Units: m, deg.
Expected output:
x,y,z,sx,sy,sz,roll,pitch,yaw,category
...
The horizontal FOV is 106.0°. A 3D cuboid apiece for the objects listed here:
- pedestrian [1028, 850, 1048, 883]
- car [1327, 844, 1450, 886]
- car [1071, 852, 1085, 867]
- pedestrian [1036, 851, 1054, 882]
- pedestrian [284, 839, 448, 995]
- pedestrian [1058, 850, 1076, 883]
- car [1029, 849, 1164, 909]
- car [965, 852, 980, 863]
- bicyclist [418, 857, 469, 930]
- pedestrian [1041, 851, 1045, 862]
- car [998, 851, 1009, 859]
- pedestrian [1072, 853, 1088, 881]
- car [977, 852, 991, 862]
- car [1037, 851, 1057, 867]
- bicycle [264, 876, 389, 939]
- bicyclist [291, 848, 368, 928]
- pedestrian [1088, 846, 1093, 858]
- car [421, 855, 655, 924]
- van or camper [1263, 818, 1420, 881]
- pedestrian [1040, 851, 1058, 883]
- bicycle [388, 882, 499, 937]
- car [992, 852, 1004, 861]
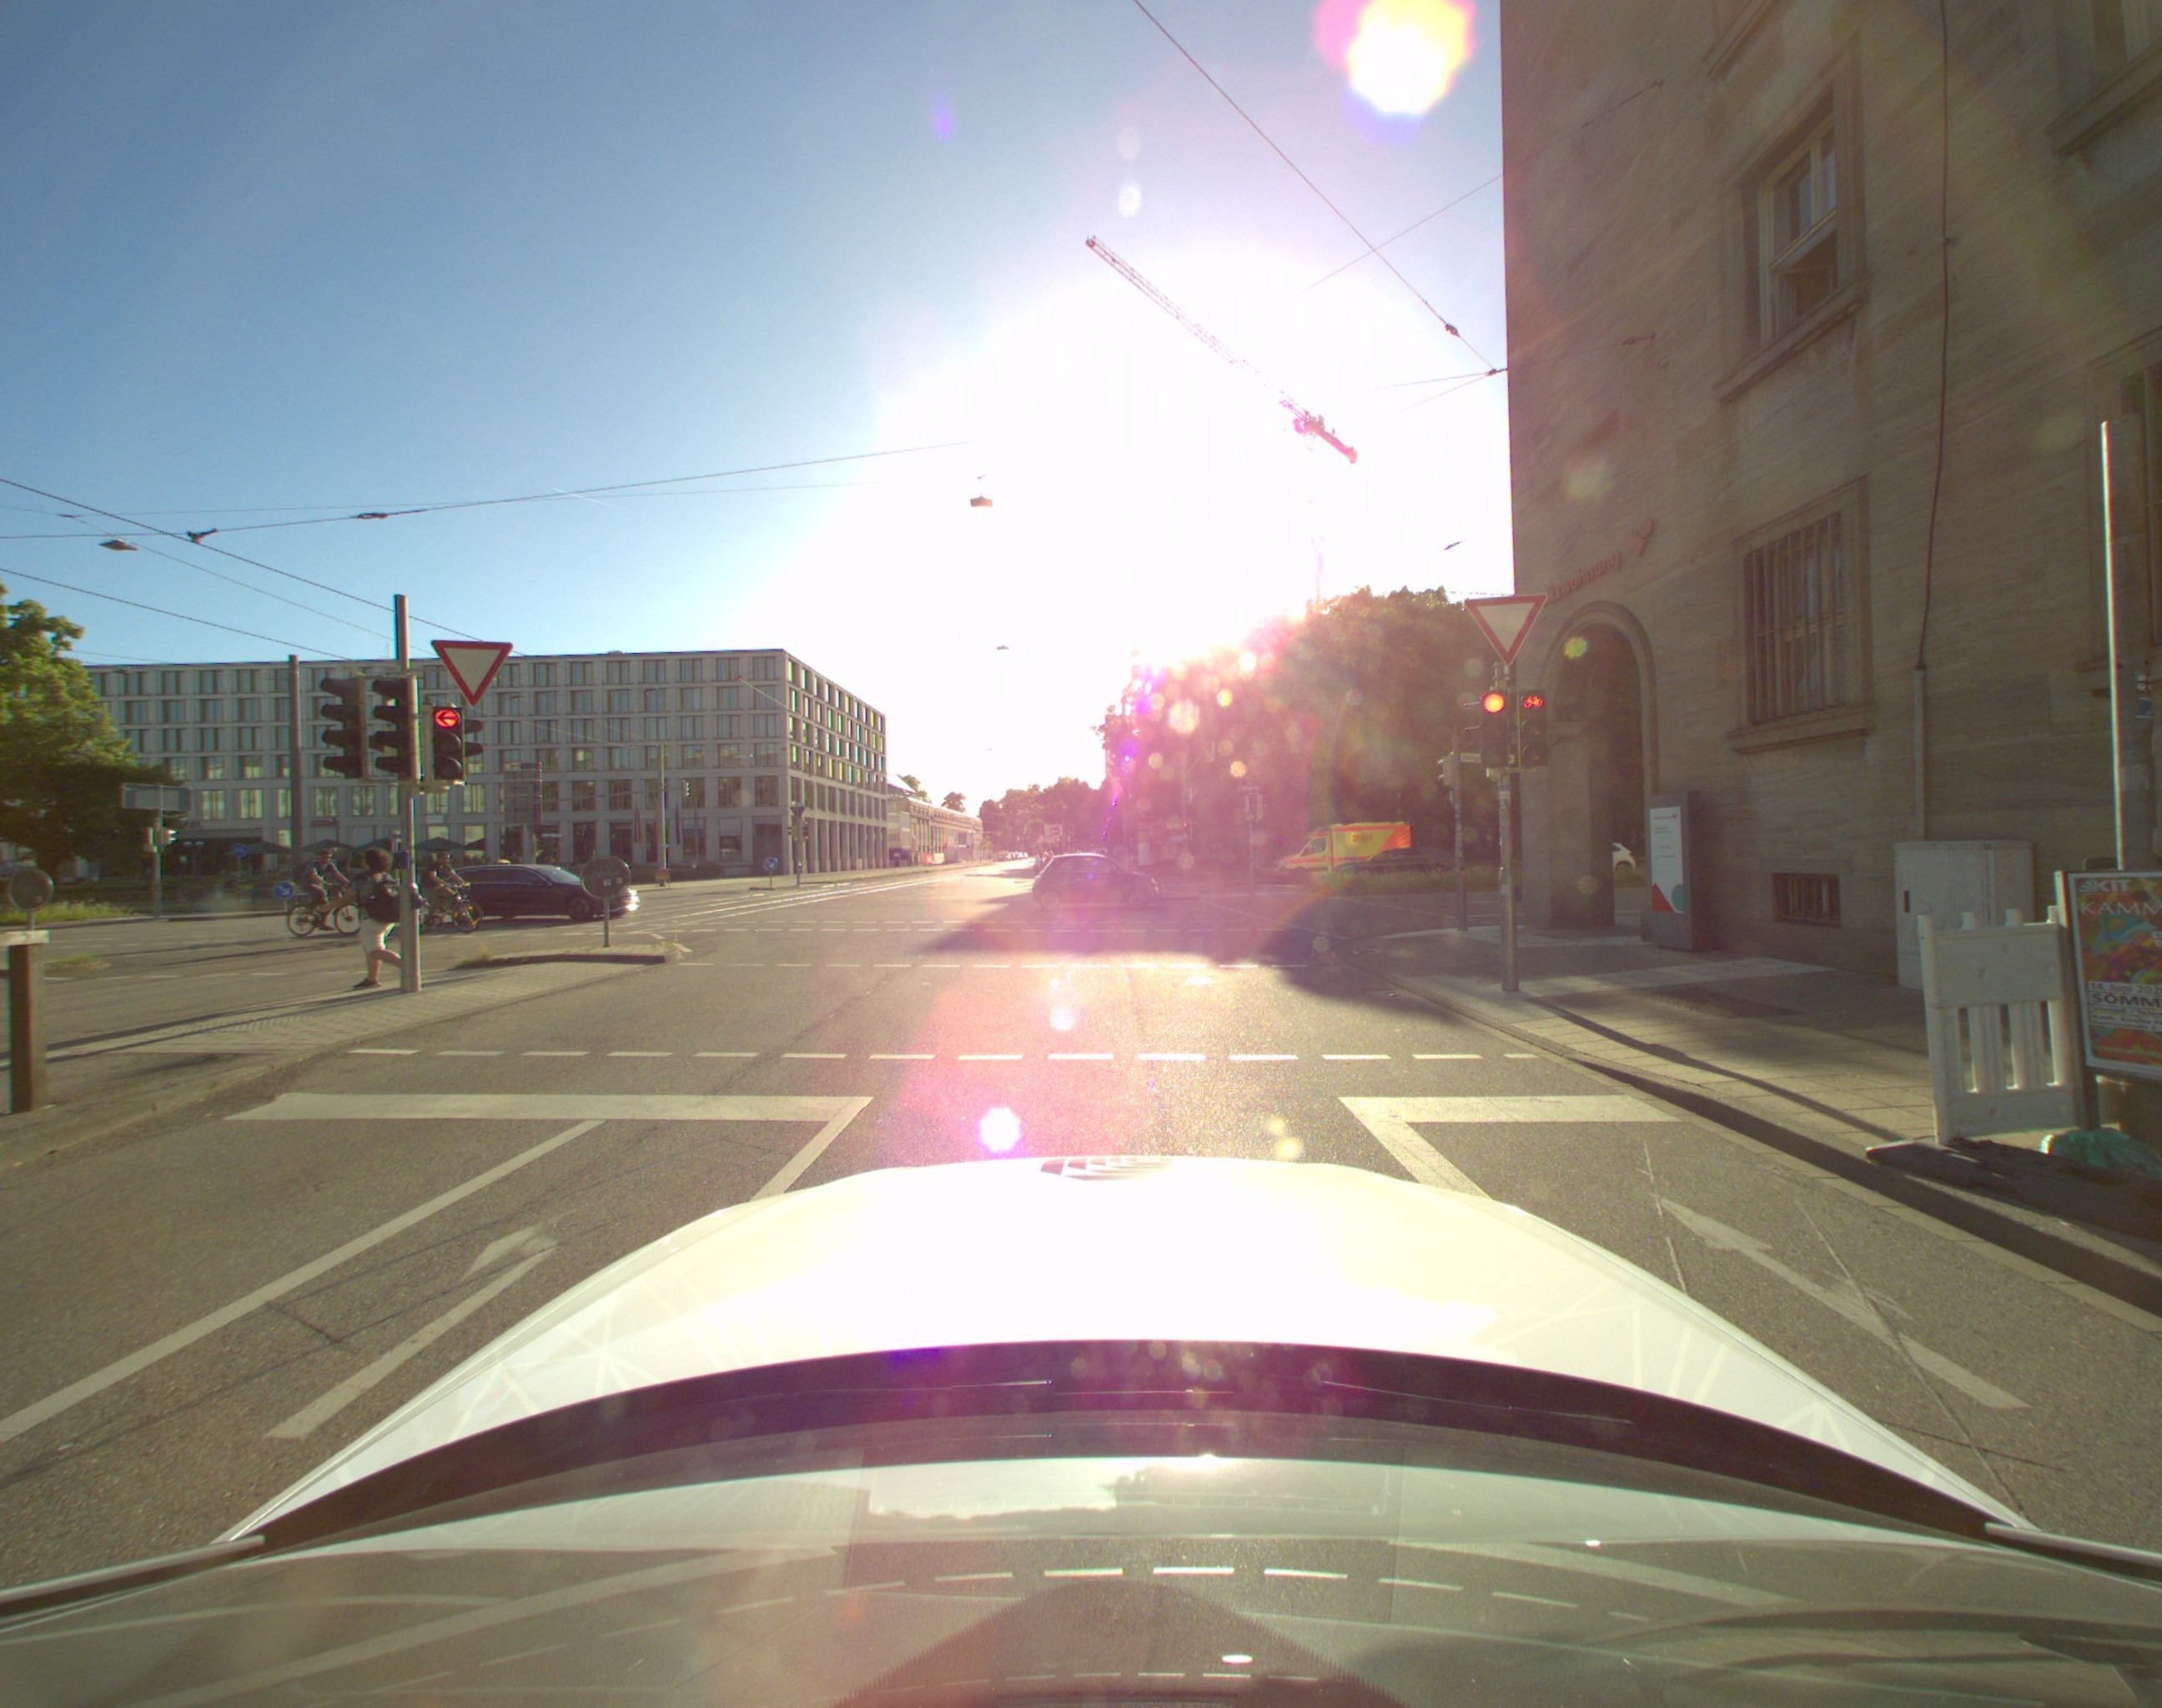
x,y,z,sx,sy,sz,roll,pitch,yaw,category
-2.382,0.683,45.001,0.967,1.784,0.776,-2,0,-15,pedestrian
12.303,0.450,32.805,4.297,1.647,1.889,0,-1,2,car
-0.386,0.779,107.837,1.678,1.962,3.510,0,-1,2,car
-2.100,0.706,47.232,0.849,1.784,0.776,-2,0,-15,pedestrian
-8.442,0.703,9.682,1.039,1.721,1.032,-2,0,-10,pedestrian
-0.788,0.703,45.830,0.849,1.784,0.776,-2,0,-15,pedestrian
0.402,0.658,22.009,3.519,1.506,1.522,-1,0,-1,car
-17.831,0.506,134.120,1.812,1.712,3.807,-2,0,2,car
-14.085,0.863,18.012,0.615,1.582,0.595,-2,0,7,bicyclist
-5.025,0.322,108.025,0.522,1.484,0.437,0,-1,0,pedestrian
-15.262,0.255,160.662,1.603,1.498,3.807,-2,0,2,car
-0.042,0.742,46.587,0.763,1.558,0.585,-2,0,-15,pedestrian
-17.306,0.515,145.024,1.812,1.712,3.807,-2,0,2,car
-3.413,0.520,82.120,1.678,1.501,3.510,0,-1,2,car
-16.740,1.183,18.091,2.037,1.288,0.888,-2,0,7,bicycle
-16.672,0.738,18.088,0.885,1.695,0.846,-2,0,7,bicyclist
2.949,-0.734,246.021,1.396,3.597,1.568,0,-1,1,pedestrian
-14.237,0.900,21.555,4.880,1.656,1.935,-1,1,2,car
12.175,-0.187,38.593,6.674,2.862,2.915,0,-1,6,van or camper
-1.819,0.708,46.456,0.849,1.784,0.776,-2,0,-15,pedestrian
-14.071,1.211,17.999,1.913,1.122,0.792,-2,0,7,bicycle
-15.955,0.418,156.481,1.812,1.712,3.807,-2,0,2,car
